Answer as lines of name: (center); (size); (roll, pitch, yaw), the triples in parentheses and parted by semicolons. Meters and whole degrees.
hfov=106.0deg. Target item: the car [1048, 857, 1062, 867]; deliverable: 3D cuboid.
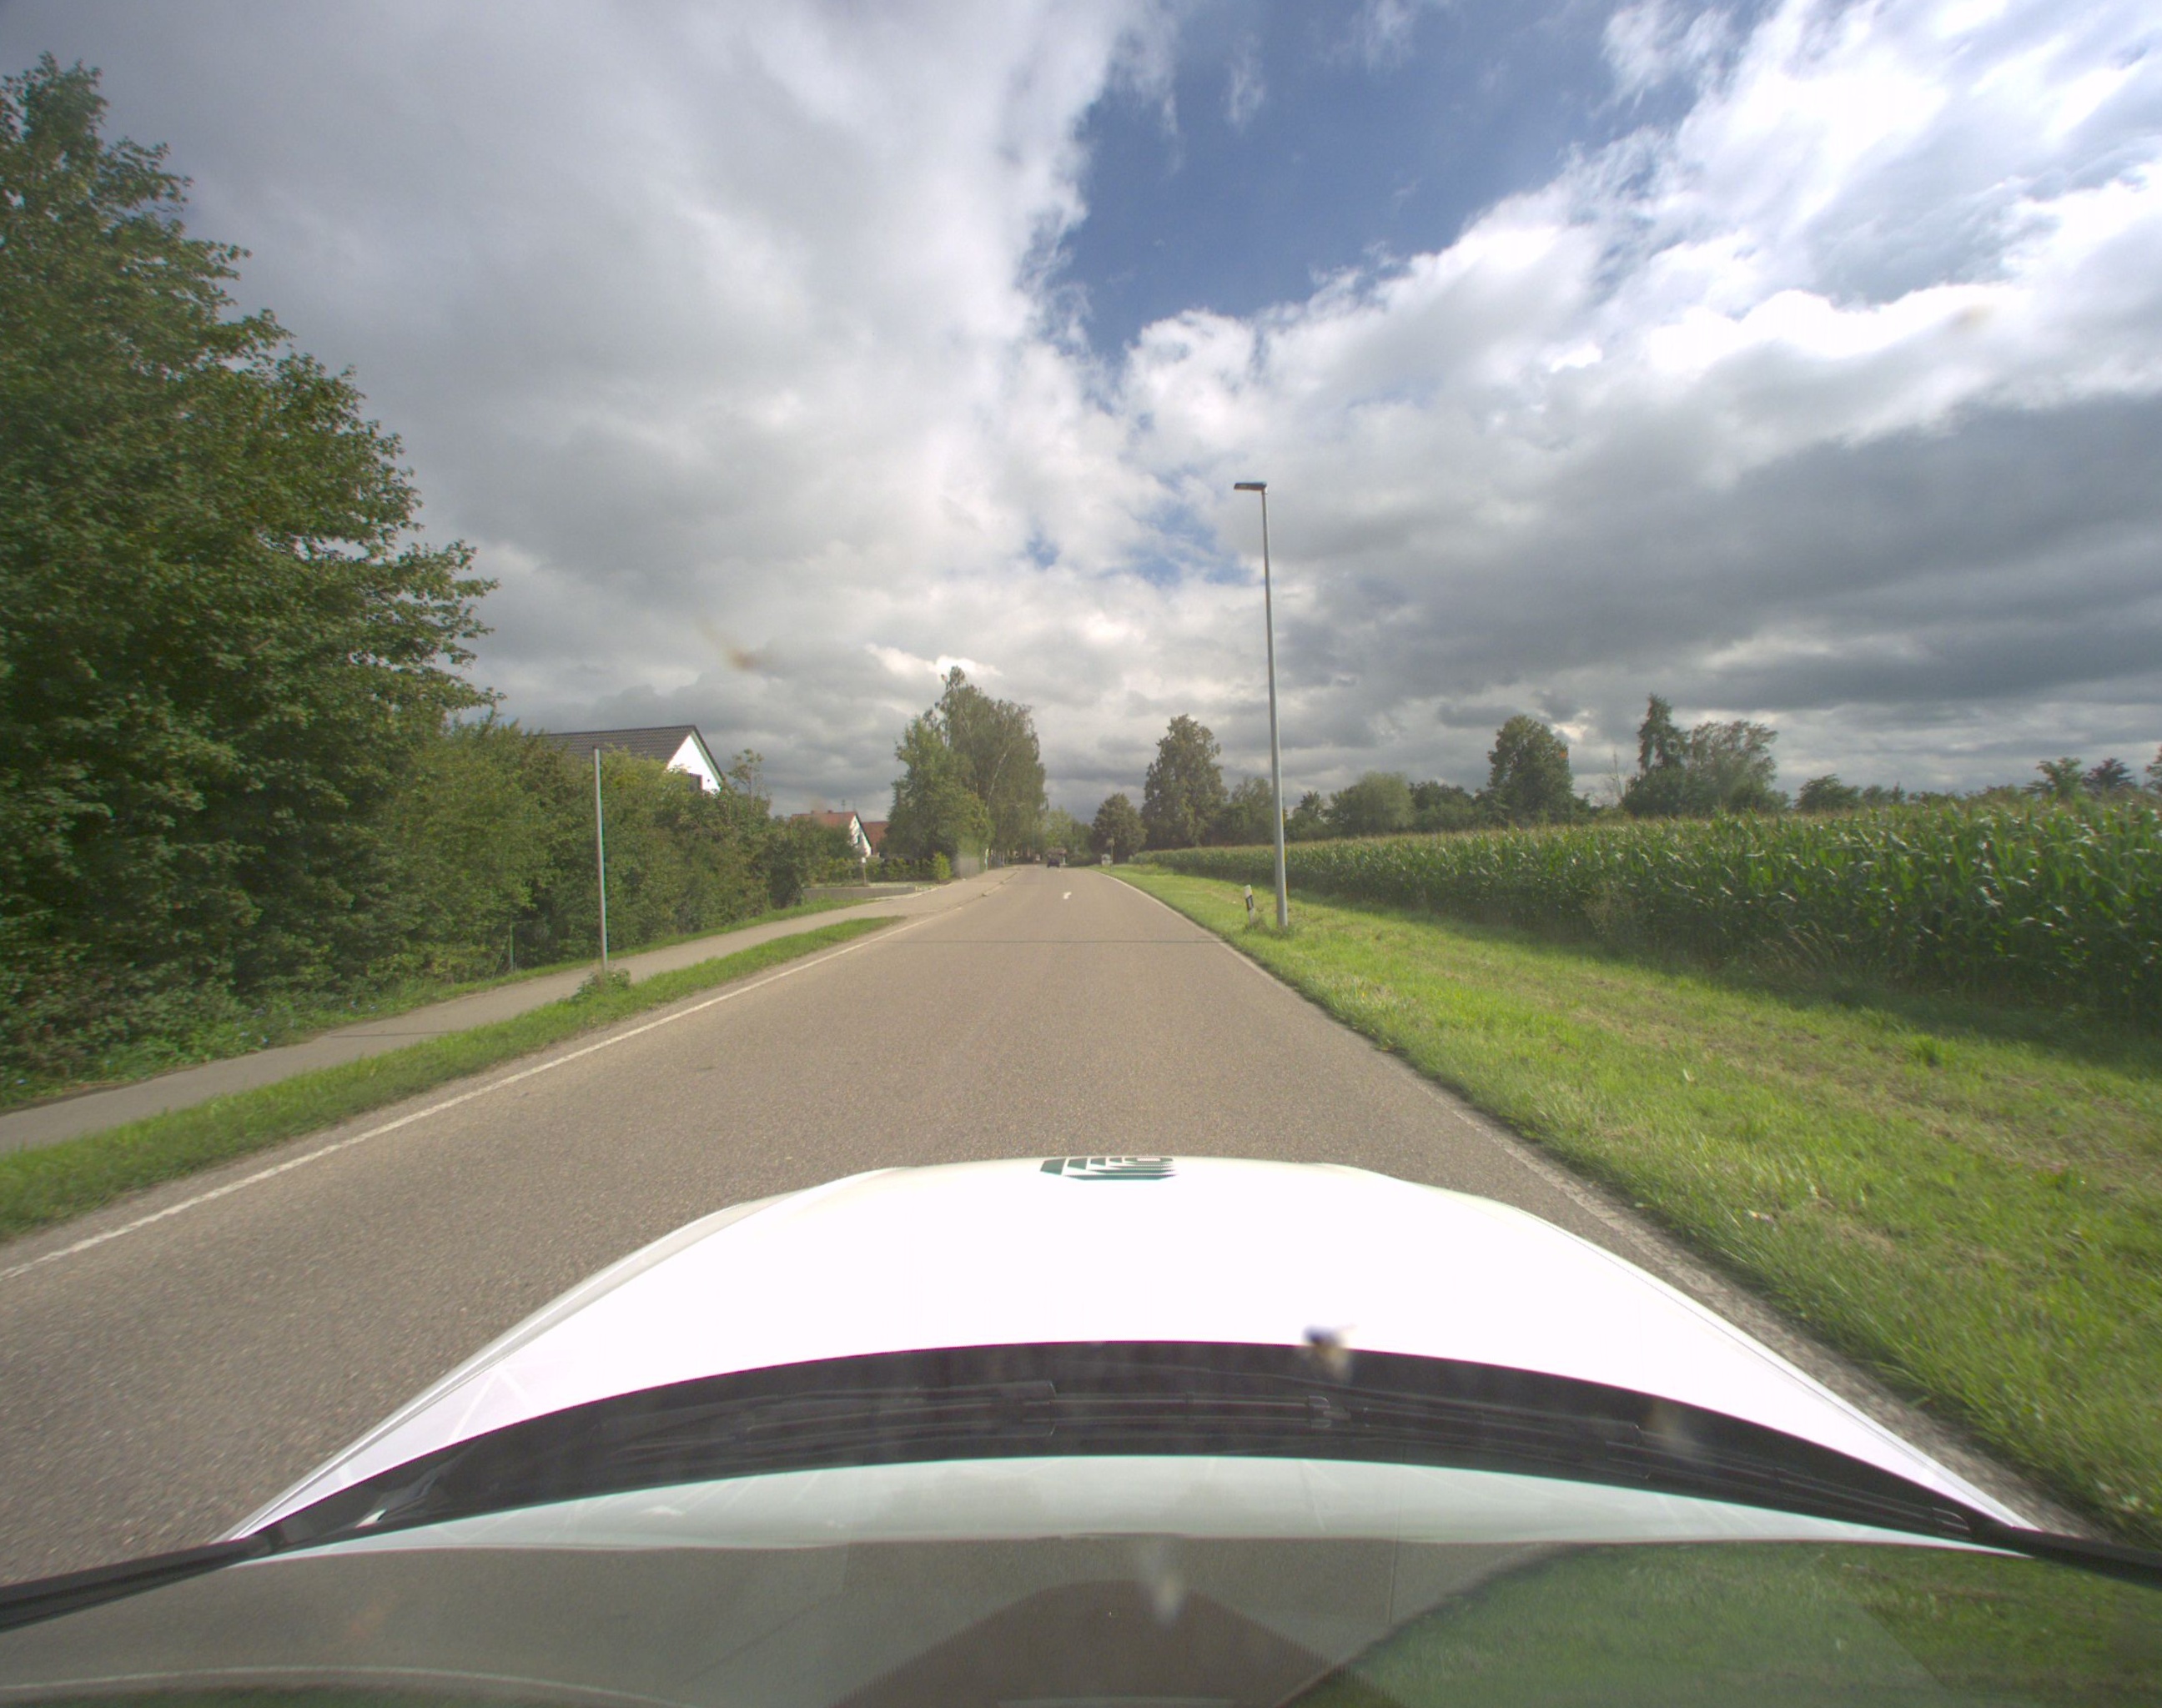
car: (-4.194, 1.297, 129.260); (1.990, 1.585, 3.993); (-1, 0, -5)
